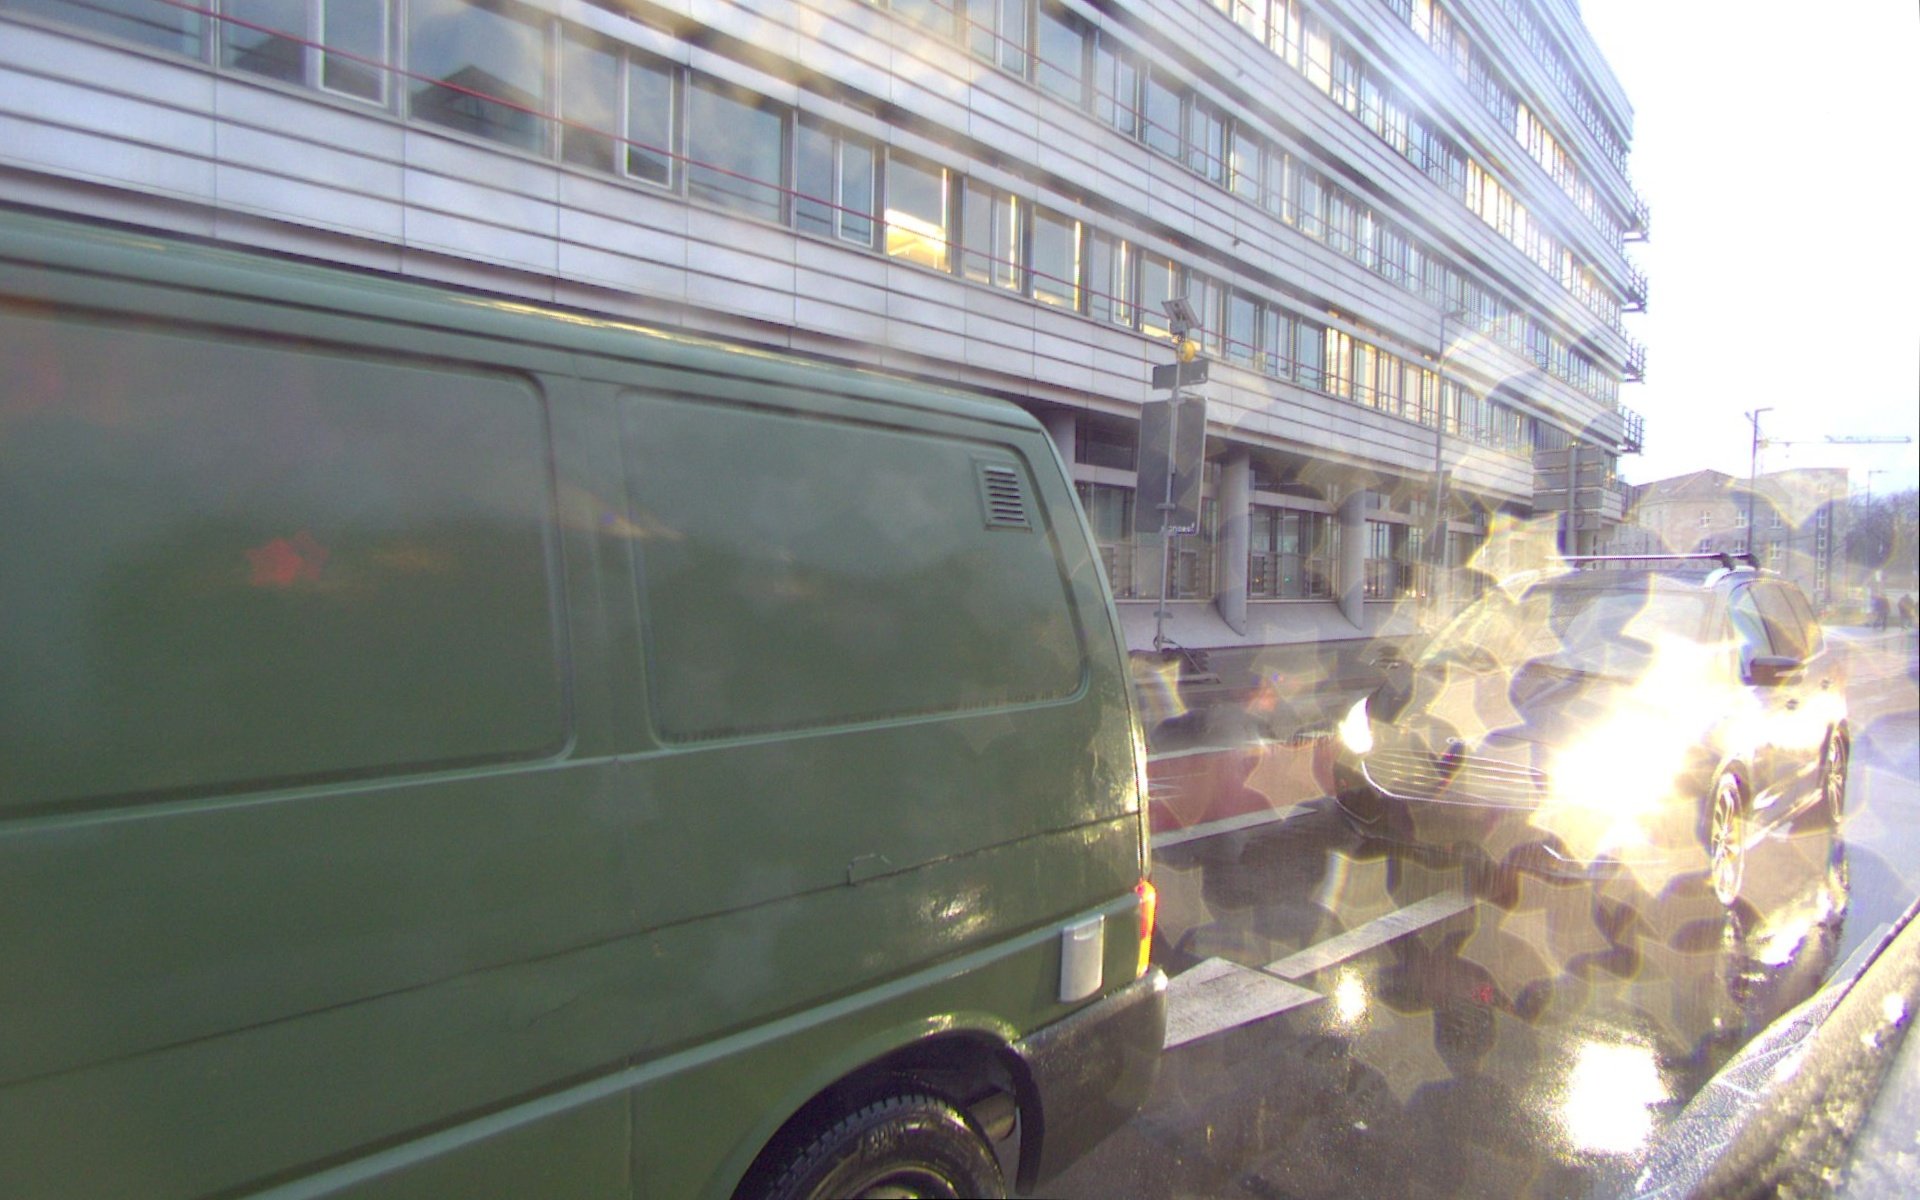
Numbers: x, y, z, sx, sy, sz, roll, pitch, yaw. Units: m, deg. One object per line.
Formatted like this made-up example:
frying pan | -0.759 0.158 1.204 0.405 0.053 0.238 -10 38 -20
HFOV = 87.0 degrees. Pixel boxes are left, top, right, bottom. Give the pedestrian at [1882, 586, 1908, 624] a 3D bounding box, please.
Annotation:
pedestrian | 44.849 0.234 48.547 0.953 1.722 0.746 0 4 -44

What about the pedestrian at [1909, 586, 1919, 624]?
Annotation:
pedestrian | 45.088 0.244 47.495 0.870 1.723 0.650 0 3 -44

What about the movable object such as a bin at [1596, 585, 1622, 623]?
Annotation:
movable object such as a bin | 25.500 0.161 39.734 0.826 1.446 0.665 0 1 -44

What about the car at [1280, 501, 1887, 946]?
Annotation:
car | 4.143 0.498 6.370 4.587 1.834 1.887 0 0 -39

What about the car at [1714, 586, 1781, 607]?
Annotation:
car | 71.071 -0.367 91.415 1.958 1.782 4.386 0 1 -24

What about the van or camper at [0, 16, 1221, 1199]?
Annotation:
van or camper | -1.674 0.453 1.310 4.341 1.931 1.760 0 0 -41

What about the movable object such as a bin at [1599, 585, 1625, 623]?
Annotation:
movable object such as a bin | 26.074 0.160 40.468 0.826 1.495 0.665 0 1 -44

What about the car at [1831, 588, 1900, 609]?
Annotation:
car | 74.292 -0.117 83.075 1.743 1.556 3.775 1 1 -24

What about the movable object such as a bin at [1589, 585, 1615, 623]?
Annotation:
movable object such as a bin | 24.841 0.146 39.150 0.826 1.446 0.665 0 1 -44

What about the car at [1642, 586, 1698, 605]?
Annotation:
car | 68.616 -0.470 97.852 1.958 1.693 4.013 0 1 -24
